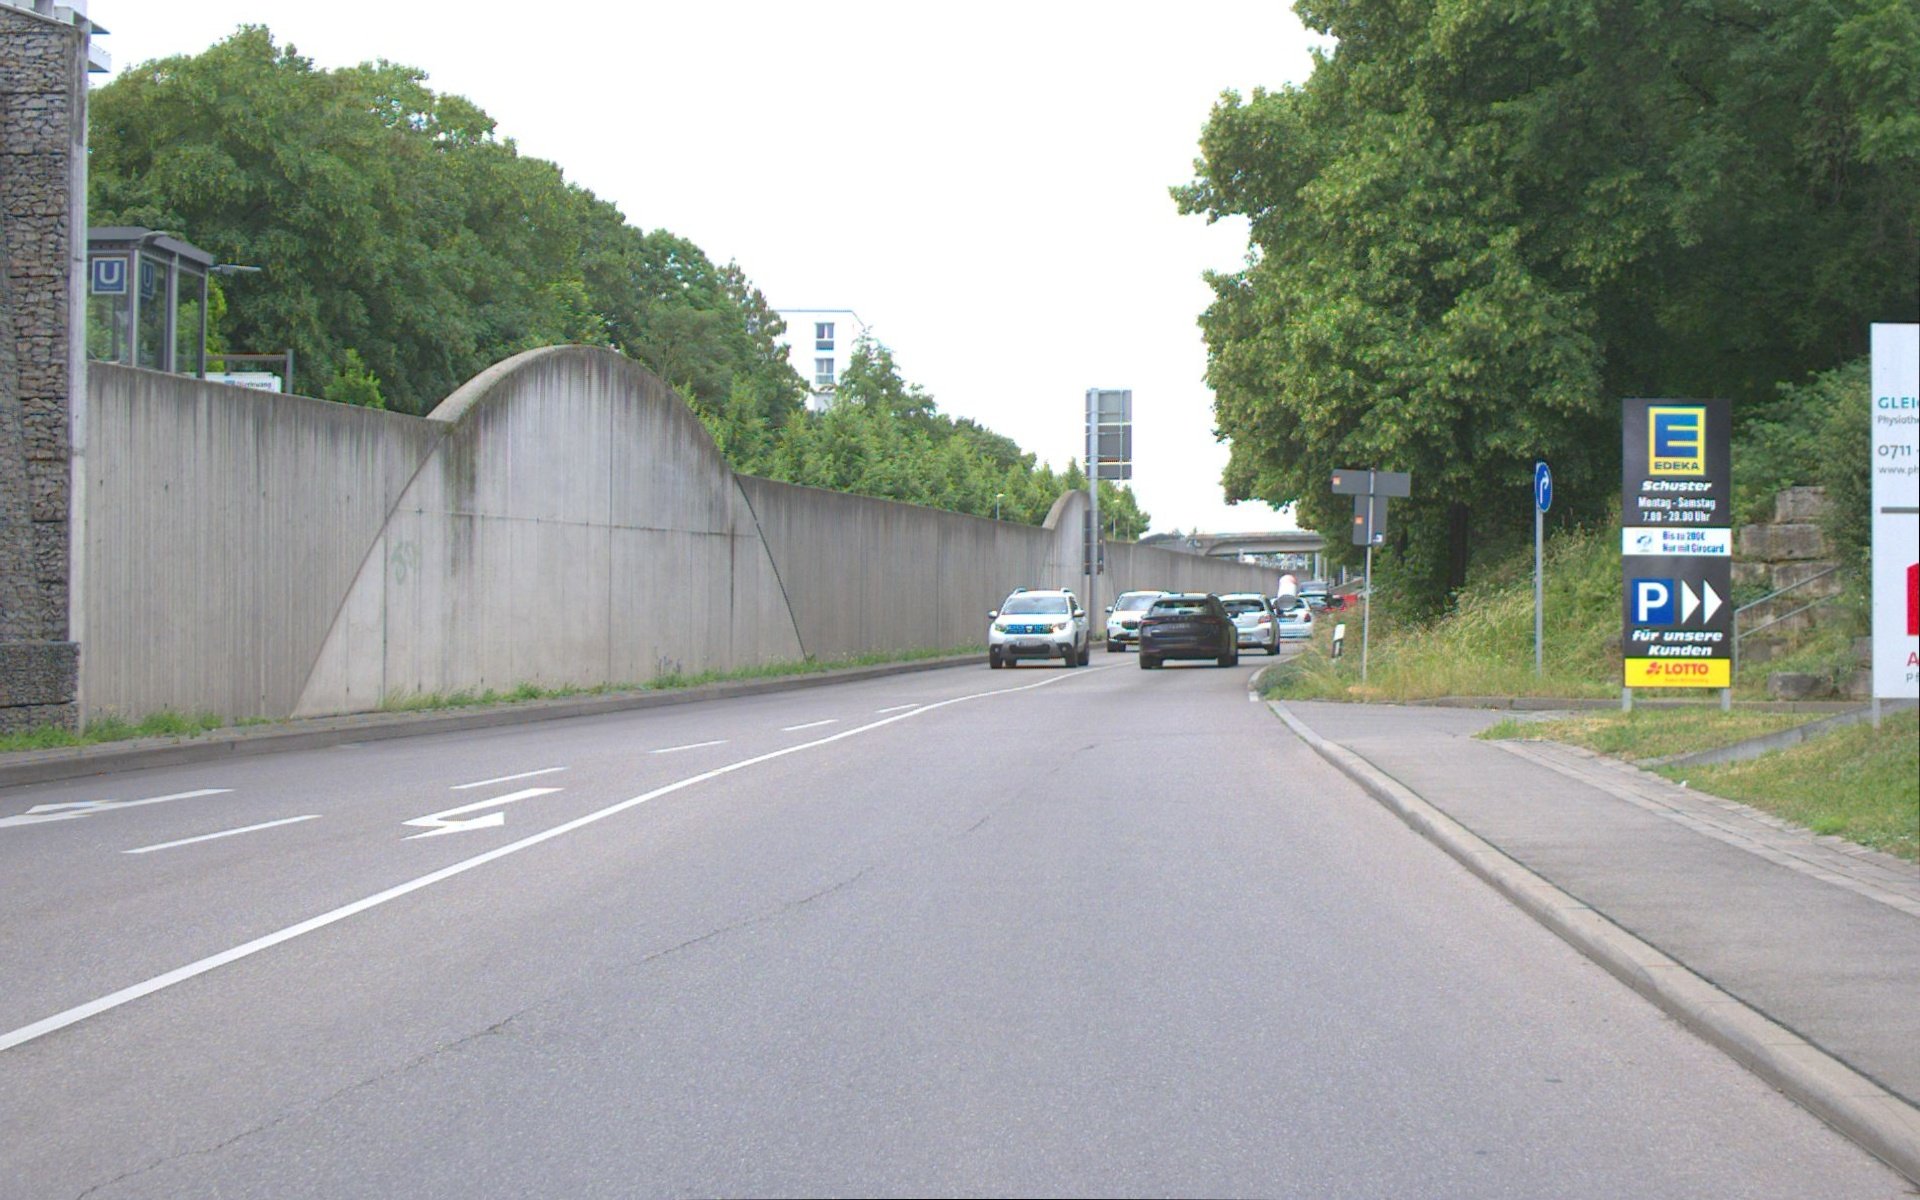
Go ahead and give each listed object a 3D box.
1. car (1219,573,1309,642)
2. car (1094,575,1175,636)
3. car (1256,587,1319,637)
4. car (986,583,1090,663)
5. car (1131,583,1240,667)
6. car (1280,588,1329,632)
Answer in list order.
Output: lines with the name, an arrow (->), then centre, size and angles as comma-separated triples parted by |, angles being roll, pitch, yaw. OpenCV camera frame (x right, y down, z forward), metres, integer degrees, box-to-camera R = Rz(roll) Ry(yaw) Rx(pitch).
car -> 7.468, 0.198, 84.253 | 1.755, 1.518, 4.034 | 2, -1, 11
car -> 4.808, 0.129, 94.217 | 1.891, 1.626, 4.425 | 0, 0, 7
car -> 10.484, 0.376, 109.816 | 1.867, 1.485, 4.256 | 2, 0, 6
car -> 1.672, 0.466, 72.228 | 1.862, 1.626, 4.207 | 0, 0, 6
car -> 4.513, 0.521, 68.326 | 1.755, 1.518, 4.035 | 2, -1, 9
car -> 13.207, 0.399, 131.624 | 1.755, 1.528, 4.253 | 2, -1, 7
